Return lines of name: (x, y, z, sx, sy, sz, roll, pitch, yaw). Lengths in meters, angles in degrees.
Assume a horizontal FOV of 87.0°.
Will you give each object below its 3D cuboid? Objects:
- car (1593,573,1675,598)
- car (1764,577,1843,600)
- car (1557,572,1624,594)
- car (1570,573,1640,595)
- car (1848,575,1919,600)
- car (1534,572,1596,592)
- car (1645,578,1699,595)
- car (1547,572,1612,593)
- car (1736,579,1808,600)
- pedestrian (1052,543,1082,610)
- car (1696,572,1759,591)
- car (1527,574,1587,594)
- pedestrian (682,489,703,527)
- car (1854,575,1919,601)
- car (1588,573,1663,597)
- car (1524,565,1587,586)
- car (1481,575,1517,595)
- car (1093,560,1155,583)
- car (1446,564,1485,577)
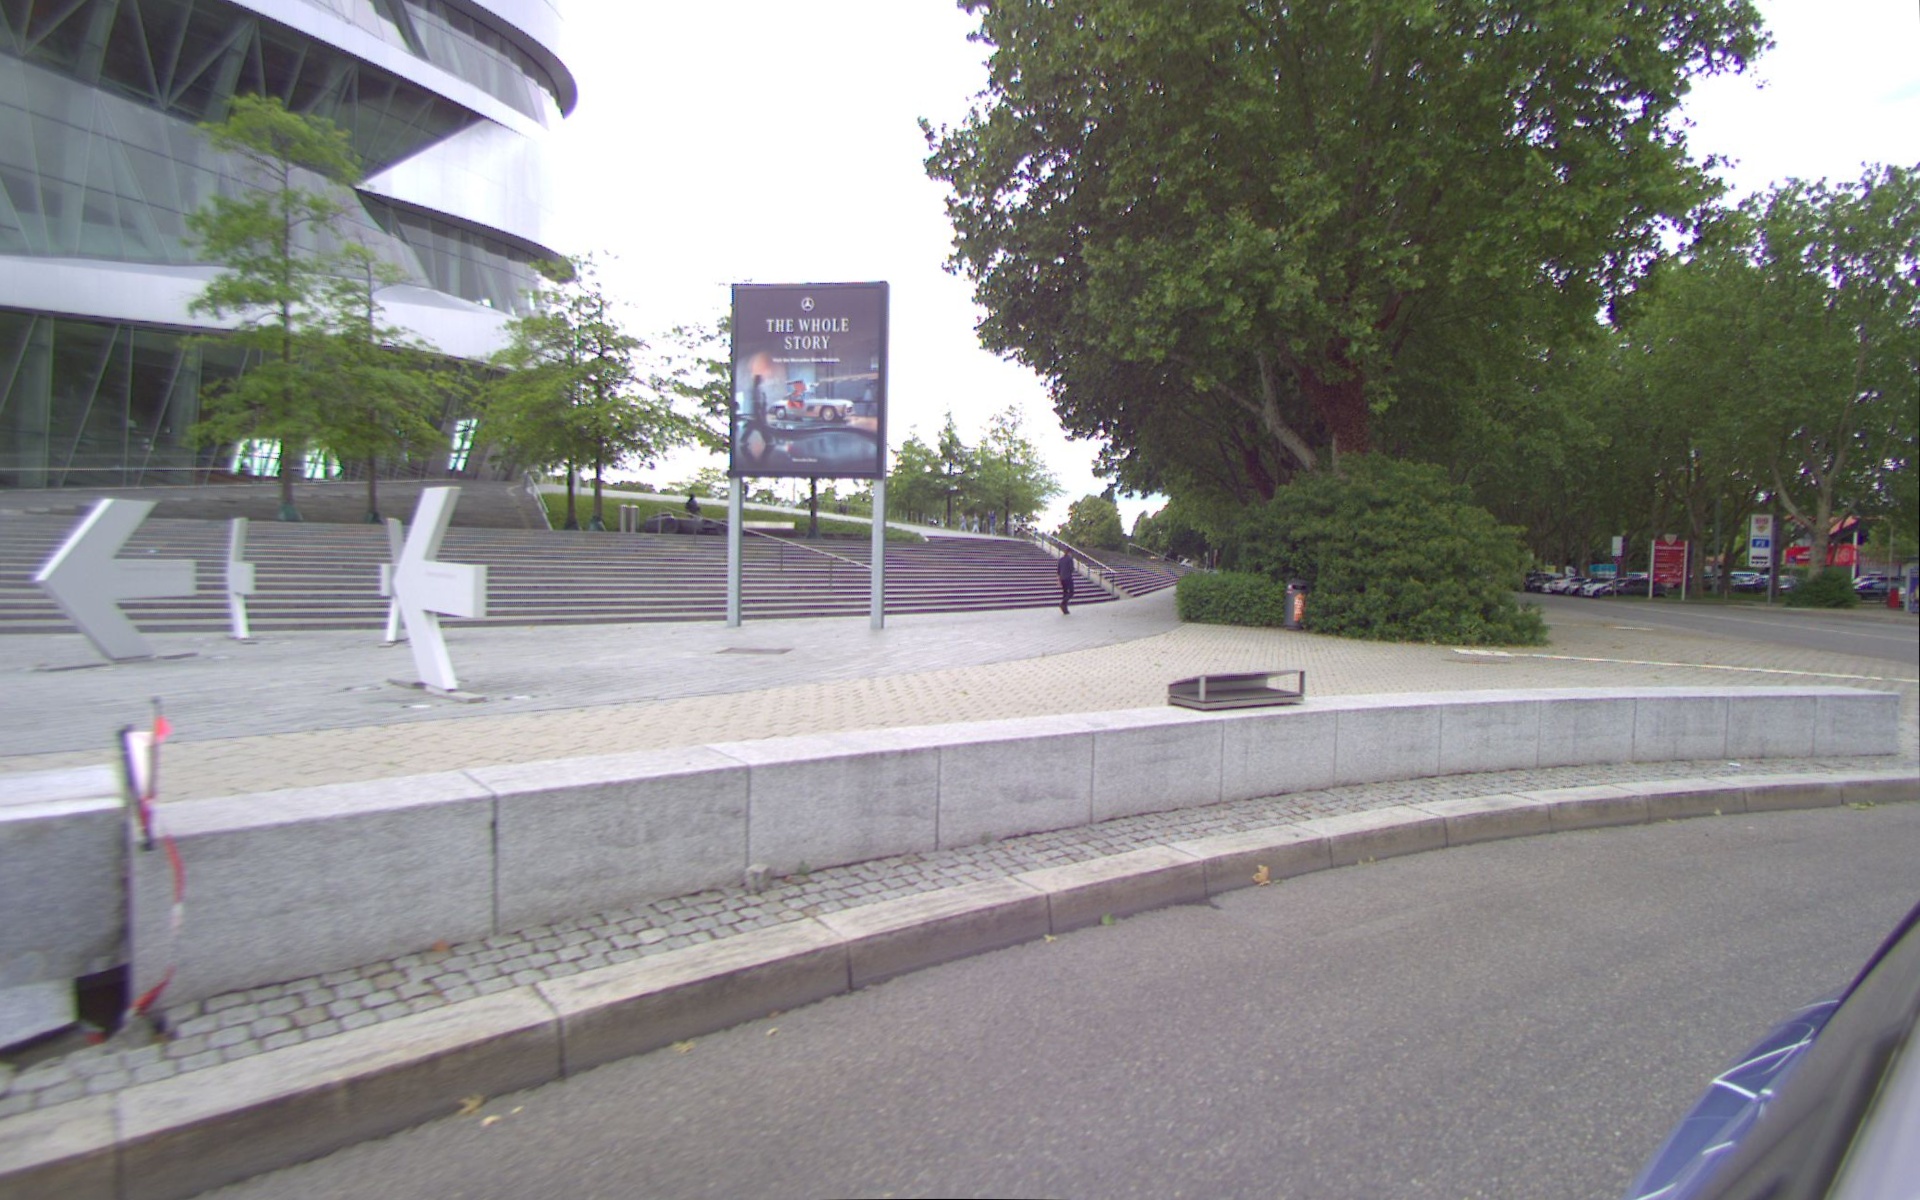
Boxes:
car: (43.997, -0.954, 66.182, 4.131, 1.537, 1.857, 2, 1, 24)
car: (61.265, -0.867, 73.590, 3.965, 1.537, 1.856, 2, 1, 25)
car: (46.813, -1.273, 75.265, 3.963, 1.537, 1.857, 2, 1, 24)
car: (46.174, -1.152, 72.544, 3.963, 1.537, 1.857, 2, 1, 24)
car: (59.114, -0.802, 64.021, 3.965, 1.537, 1.856, 2, 1, 25)
car: (47.755, -1.421, 79.937, 3.963, 1.537, 1.857, 2, 1, 24)
car: (69.216, -1.322, 98.470, 3.963, 1.537, 1.857, 2, 1, 24)
car: (47.530, -1.341, 77.693, 3.963, 1.537, 1.857, 2, 1, 24)
car: (63.545, -0.852, 79.273, 3.965, 1.537, 1.856, 2, 1, 25)
pedestrian: (2.879, -0.639, 27.286, 0.583, 1.783, 0.556, 0, 1, -29)
car: (65.403, -1.567, 86.294, 3.965, 1.537, 1.856, 2, 1, 25)
car: (48.609, -1.277, 82.440, 3.963, 1.537, 1.857, 2, 1, 24)
pedestrian: (-10.553, -3.620, 39.884, 0.774, 1.404, 0.684, 1, 1, -14)
car: (57.640, -0.743, 61.935, 3.965, 1.537, 1.856, 2, 1, 25)
car: (44.873, -1.013, 68.329, 3.963, 1.537, 1.857, 2, 1, 24)
car: (51.371, -2.113, 87.357, 4.380, 1.672, 1.786, 1, 1, 19)
car: (44.733, -1.257, 84.090, 2.081, 1.537, 4.573, 1, 2, 22)
car: (11.474, -2.015, 70.893, 3.963, 1.537, 1.857, 2, 1, 24)
car: (59.178, -3.445, 118.577, 3.963, 1.537, 1.857, 2, 1, 24)
